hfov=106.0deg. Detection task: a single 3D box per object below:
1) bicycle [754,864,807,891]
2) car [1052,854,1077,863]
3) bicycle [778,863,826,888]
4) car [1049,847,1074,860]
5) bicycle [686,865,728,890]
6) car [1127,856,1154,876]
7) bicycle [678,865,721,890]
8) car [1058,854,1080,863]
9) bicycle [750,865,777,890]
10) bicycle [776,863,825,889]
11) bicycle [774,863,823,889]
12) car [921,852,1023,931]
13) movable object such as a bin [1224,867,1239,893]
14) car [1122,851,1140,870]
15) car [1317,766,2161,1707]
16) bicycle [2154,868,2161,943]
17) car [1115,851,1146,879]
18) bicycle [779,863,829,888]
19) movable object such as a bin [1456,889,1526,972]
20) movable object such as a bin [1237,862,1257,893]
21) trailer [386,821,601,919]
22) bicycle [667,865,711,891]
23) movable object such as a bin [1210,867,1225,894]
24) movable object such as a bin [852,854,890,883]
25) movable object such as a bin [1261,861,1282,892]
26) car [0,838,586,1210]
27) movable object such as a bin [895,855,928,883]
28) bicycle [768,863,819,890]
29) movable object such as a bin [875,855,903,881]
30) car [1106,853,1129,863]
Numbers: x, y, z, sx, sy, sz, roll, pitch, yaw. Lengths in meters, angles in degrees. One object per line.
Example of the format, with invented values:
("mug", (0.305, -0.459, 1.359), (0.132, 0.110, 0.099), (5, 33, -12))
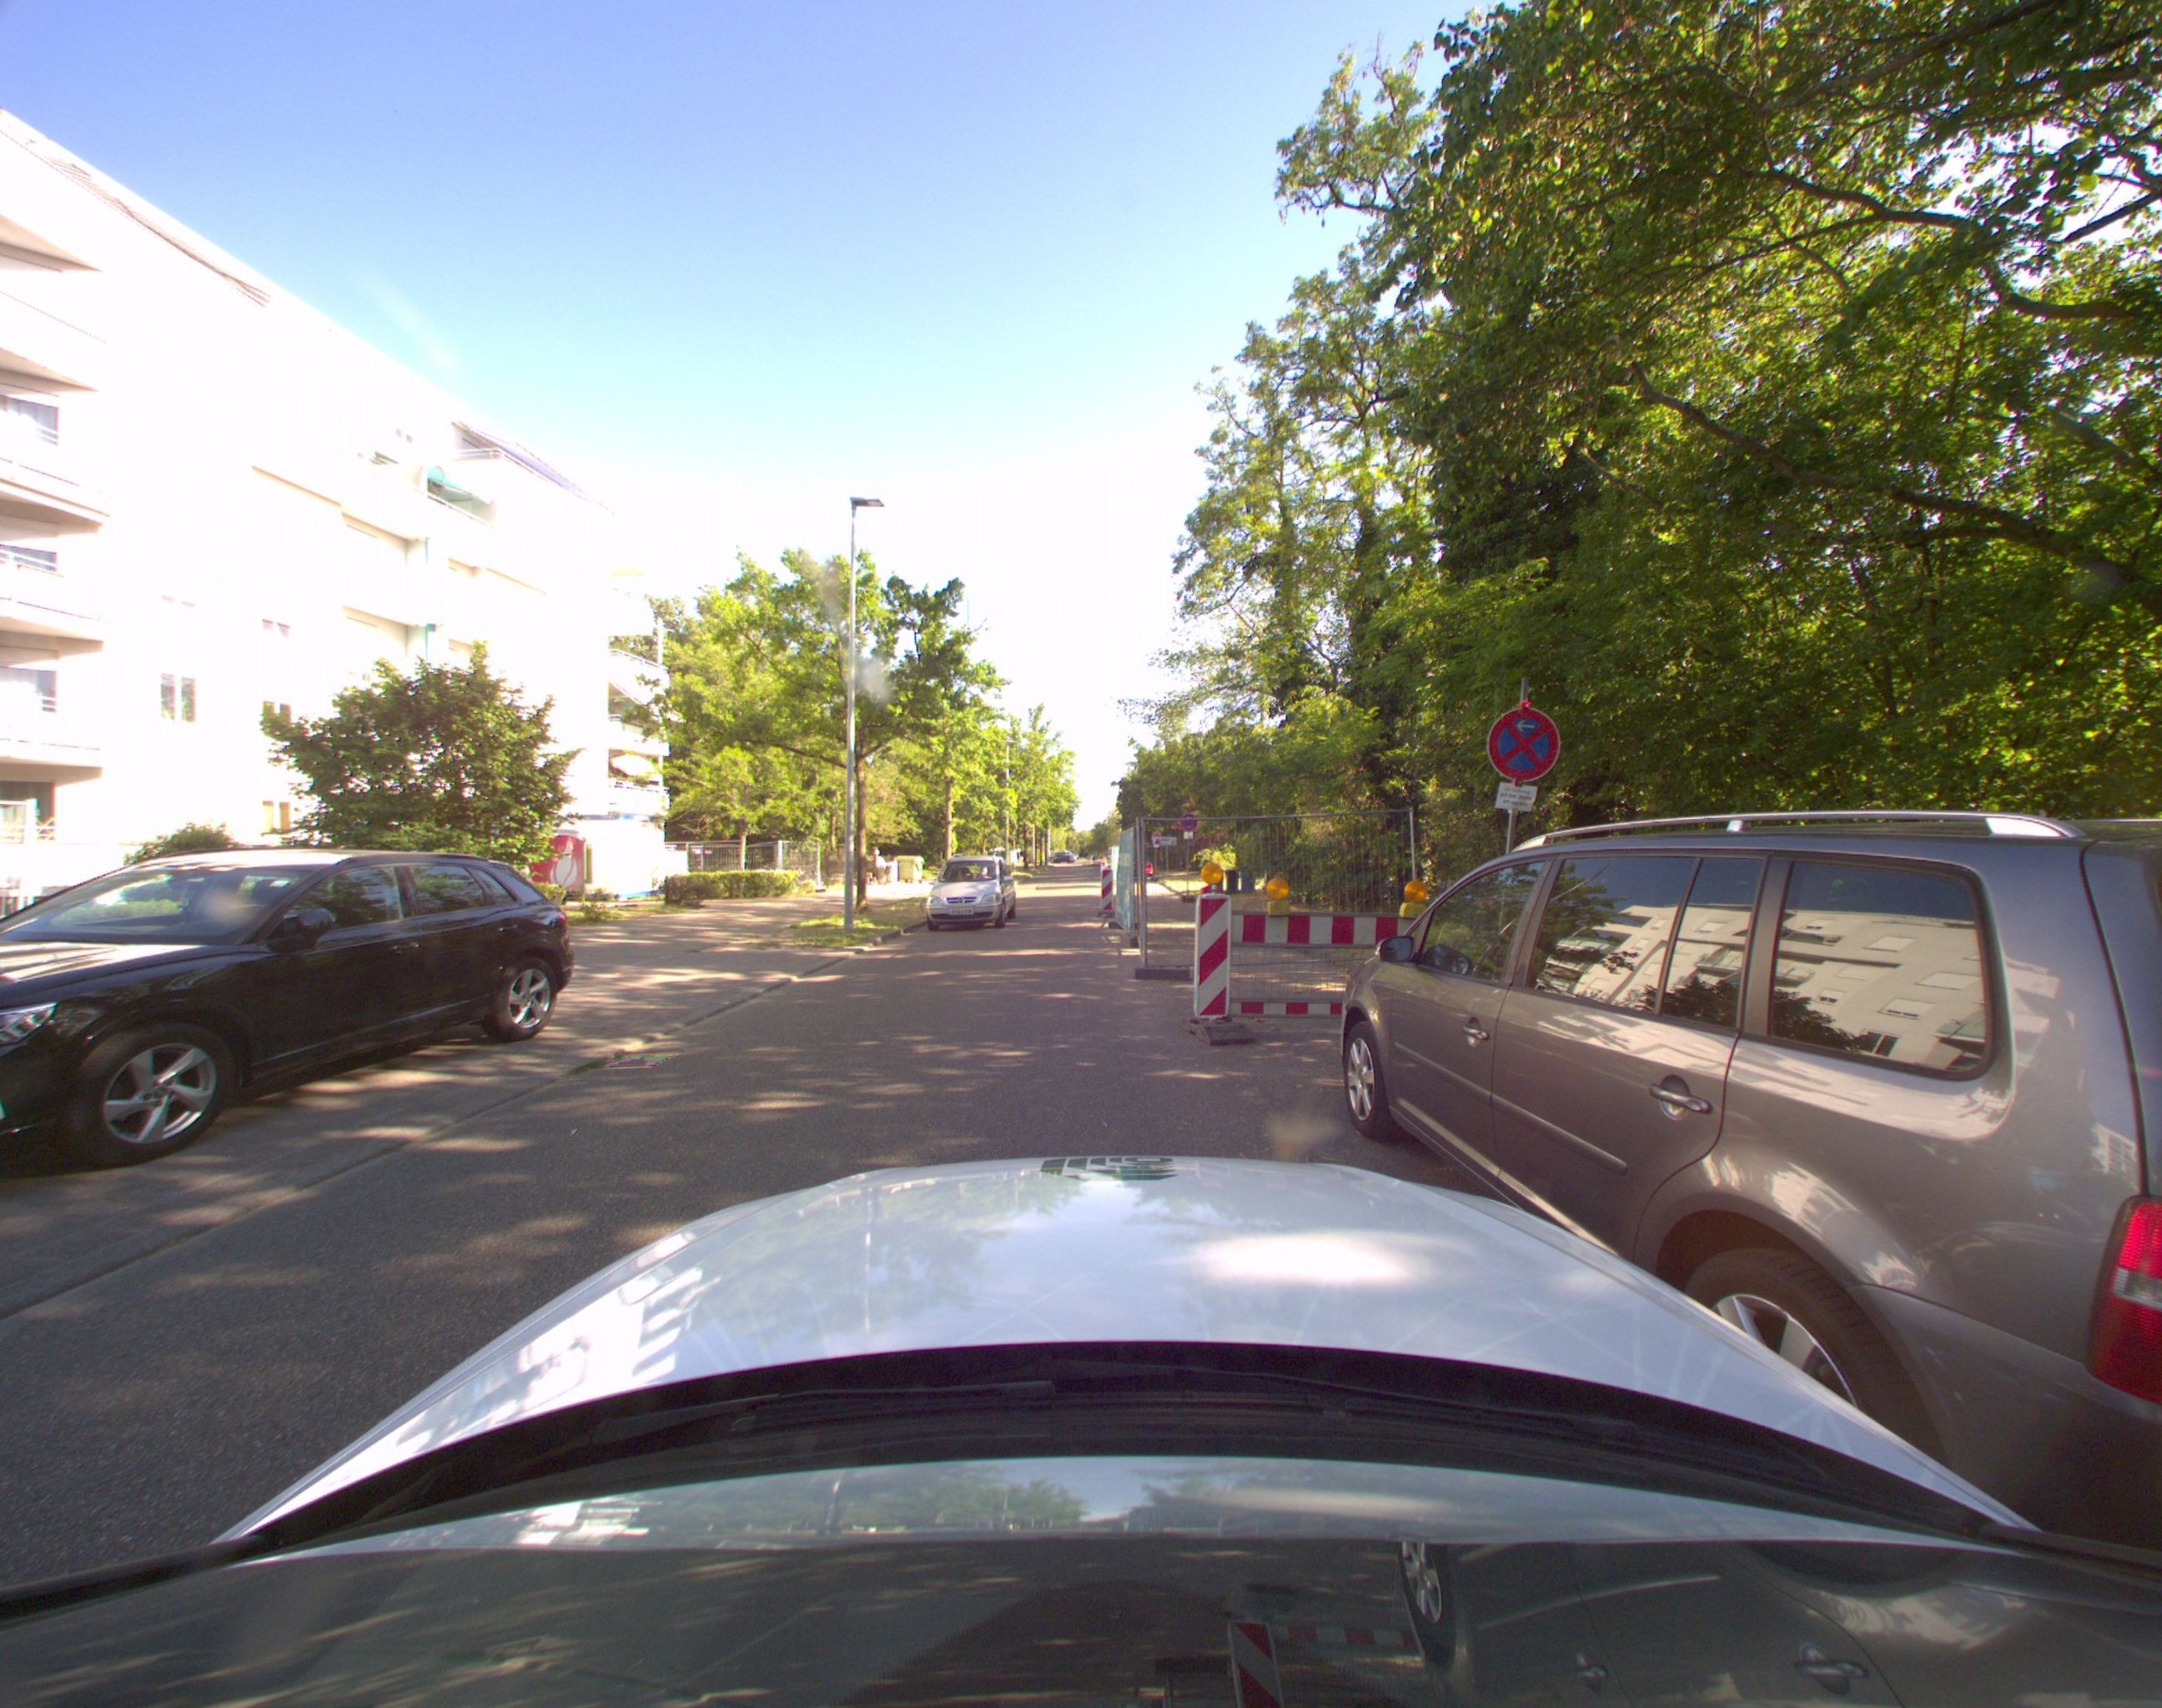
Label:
("bicycle", (-11.565, 0.895, 31.426), (1.870, 1.027, 0.399), (-1, -1, -12))
("car", (-2.930, 0.798, 148.064), (4.294, 1.576, 2.050), (1, 0, 7))
("bicycle", (-11.540, 0.893, 33.735), (1.839, 1.027, 0.399), (-1, -1, -12))
("car", (-4.173, -0.045, 173.337), (5.189, 2.621, 2.290), (1, 0, -4))
("bicycle", (-16.234, 1.018, 35.361), (1.686, 1.027, 0.401), (-1, -1, 6))
("car", (4.249, 0.830, 58.308), (1.655, 1.375, 4.155), (1, 0, 1))
("bicycle", (-16.304, 1.003, 34.808), (1.686, 1.027, 0.401), (-1, -1, 6))
("car", (-2.411, 0.924, 164.367), (4.090, 1.576, 1.960), (1, 0, 3))
("bicycle", (-13.716, 0.999, 35.190), (0.397, 1.027, 1.702), (-1, -1, 3))
("bicycle", (-11.475, 0.892, 33.313), (1.860, 1.027, 0.399), (-1, -1, -12))
("bicycle", (-11.375, 0.884, 32.840), (1.839, 1.027, 0.399), (-1, -1, -12))
("car", (-2.455, 0.786, 19.197), (1.653, 1.596, 4.010), (-3, 0, 2))
("movable object such as a bin", (5.117, 0.881, 27.711), (0.411, 0.870, 0.484), (-2, -1, 1))
("car", (5.053, 0.644, 82.876), (1.617, 1.773, 3.670), (1, 0, 1))
("car", (2.334, 0.692, 3.145), (1.673, 1.621, 4.137), (0, 0, 0))
("bicycle", (15.168, 0.707, 10.378), (0.629, 1.040, 1.785), (0, 0, 0))
("car", (3.181, 0.684, 51.467), (1.801, 1.651, 4.427), (1, 0, 5))
("bicycle", (-11.628, 0.901, 34.201), (1.916, 1.027, 0.399), (-1, -1, -12))
("movable object such as a bin", (4.504, 0.828, 8.965), (0.482, 0.861, 0.559), (0, 0, -2))
("movable object such as a bin", (5.629, 0.794, 27.625), (0.517, 0.999, 0.608), (-2, -1, 1))
("trailer", (-14.234, 0.343, 20.104), (1.855, 2.120, 4.351), (1, 0, 5))
("bicycle", (-16.425, 1.002, 34.133), (1.686, 1.027, 0.401), (-1, -1, 6))
("movable object such as a bin", (4.628, 0.903, 27.678), (0.411, 0.870, 0.484), (-2, -1, 1))
("movable object such as a bin", (-10.865, 0.749, 42.155), (1.257, 1.435, 1.334), (-1, 0, 29))
("movable object such as a bin", (6.479, 0.757, 27.717), (0.560, 0.999, 0.608), (-2, -1, 1))
("car", (-5.566, 0.732, 5.473), (1.769, 1.621, 4.222), (1, 0, 1))
("movable object such as a bin", (-9.004, 0.790, 43.348), (1.259, 1.435, 1.187), (-1, 0, 17))
("bicycle", (-11.411, 0.879, 32.367), (1.856, 1.027, 0.399), (-1, -1, -12))
("movable object such as a bin", (-10.599, 0.762, 45.006), (1.149, 1.435, 1.260), (-1, 0, -33))
("car", (6.415, 0.679, 143.453), (3.817, 1.576, 1.692), (1, 0, 7))
